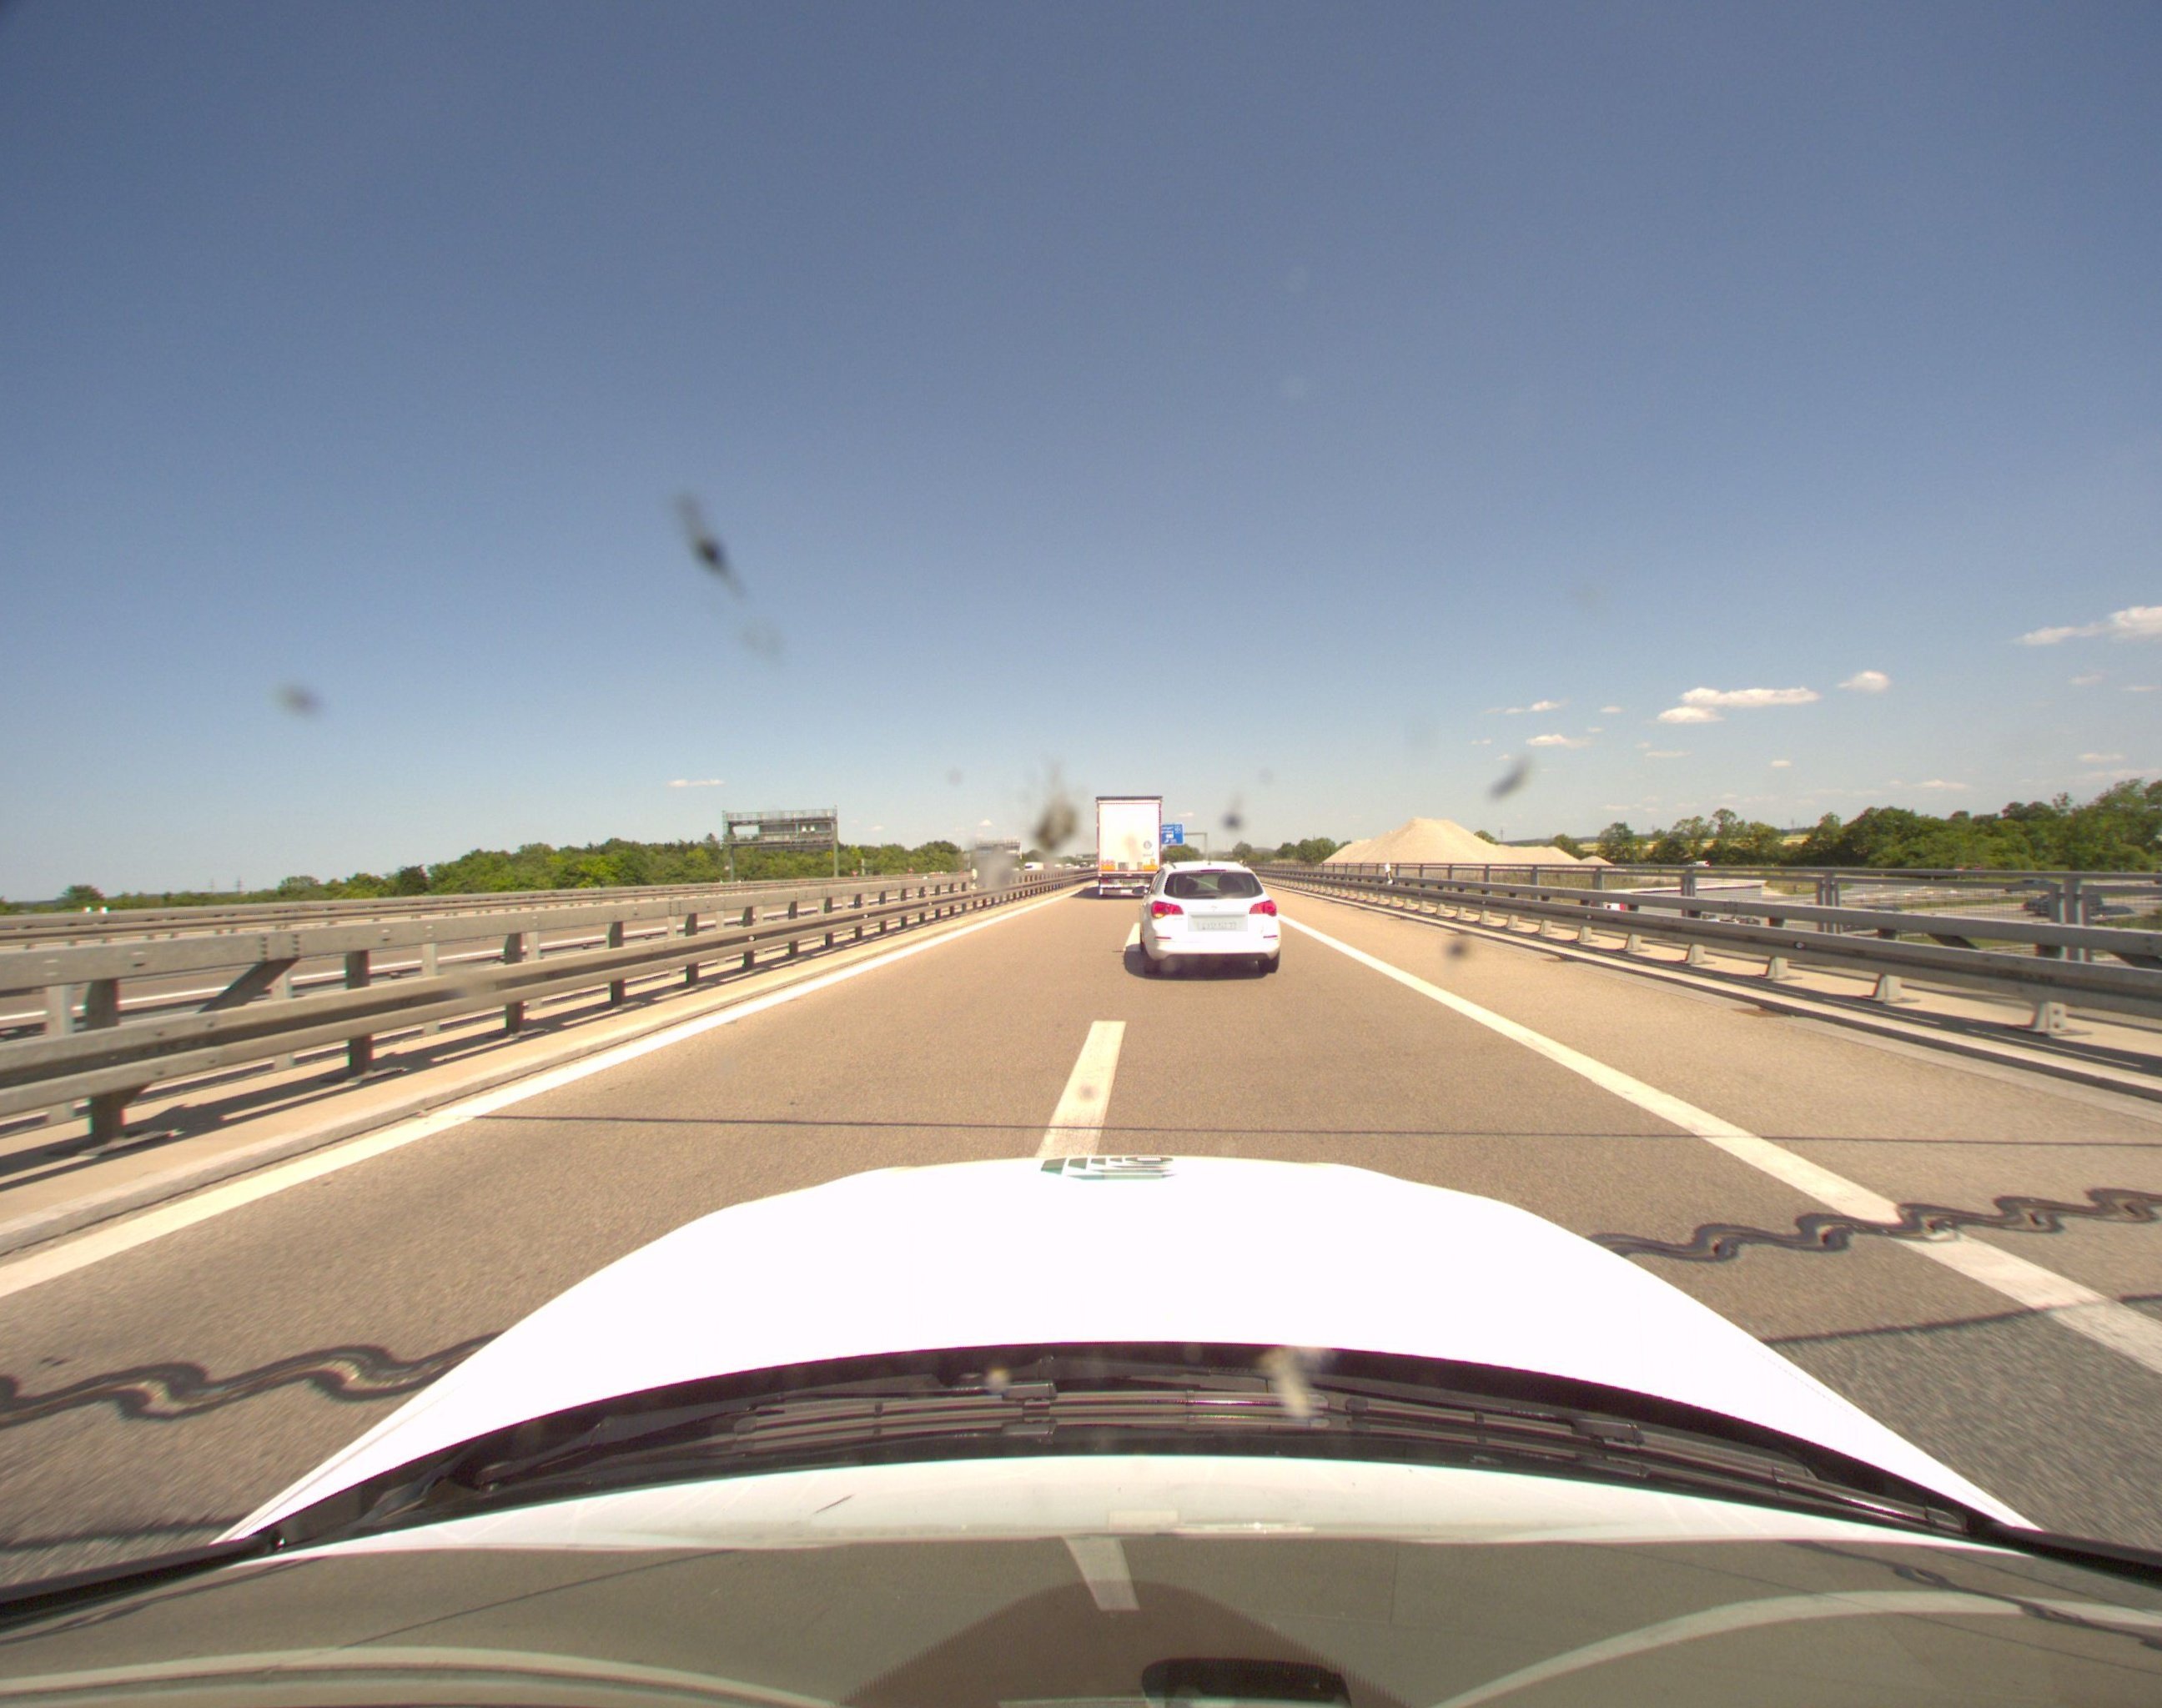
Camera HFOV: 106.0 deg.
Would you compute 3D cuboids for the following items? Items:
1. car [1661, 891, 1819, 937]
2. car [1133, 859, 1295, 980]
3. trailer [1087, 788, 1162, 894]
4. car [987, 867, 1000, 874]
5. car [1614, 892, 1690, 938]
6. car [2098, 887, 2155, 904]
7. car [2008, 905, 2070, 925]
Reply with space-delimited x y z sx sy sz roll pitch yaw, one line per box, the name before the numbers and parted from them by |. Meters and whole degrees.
car | 59.129 5.380 73.177 12.946 3.964 2.479 0 -1 -5
car | 1.733 0.827 11.973 1.847 1.443 4.374 0 -1 2
trailer | 2.262 -0.363 37.548 2.898 4.146 11.273 0 -2 6
car | -20.190 3.741 188.425 1.829 1.517 5.305 -1 -1 6
car | 50.746 5.400 72.414 5.133 3.964 2.479 0 -1 -5
car | 113.788 4.477 88.666 4.329 1.734 1.856 -1 -1 -8
car | 92.948 5.909 79.044 4.329 1.734 1.856 -1 -1 -8
